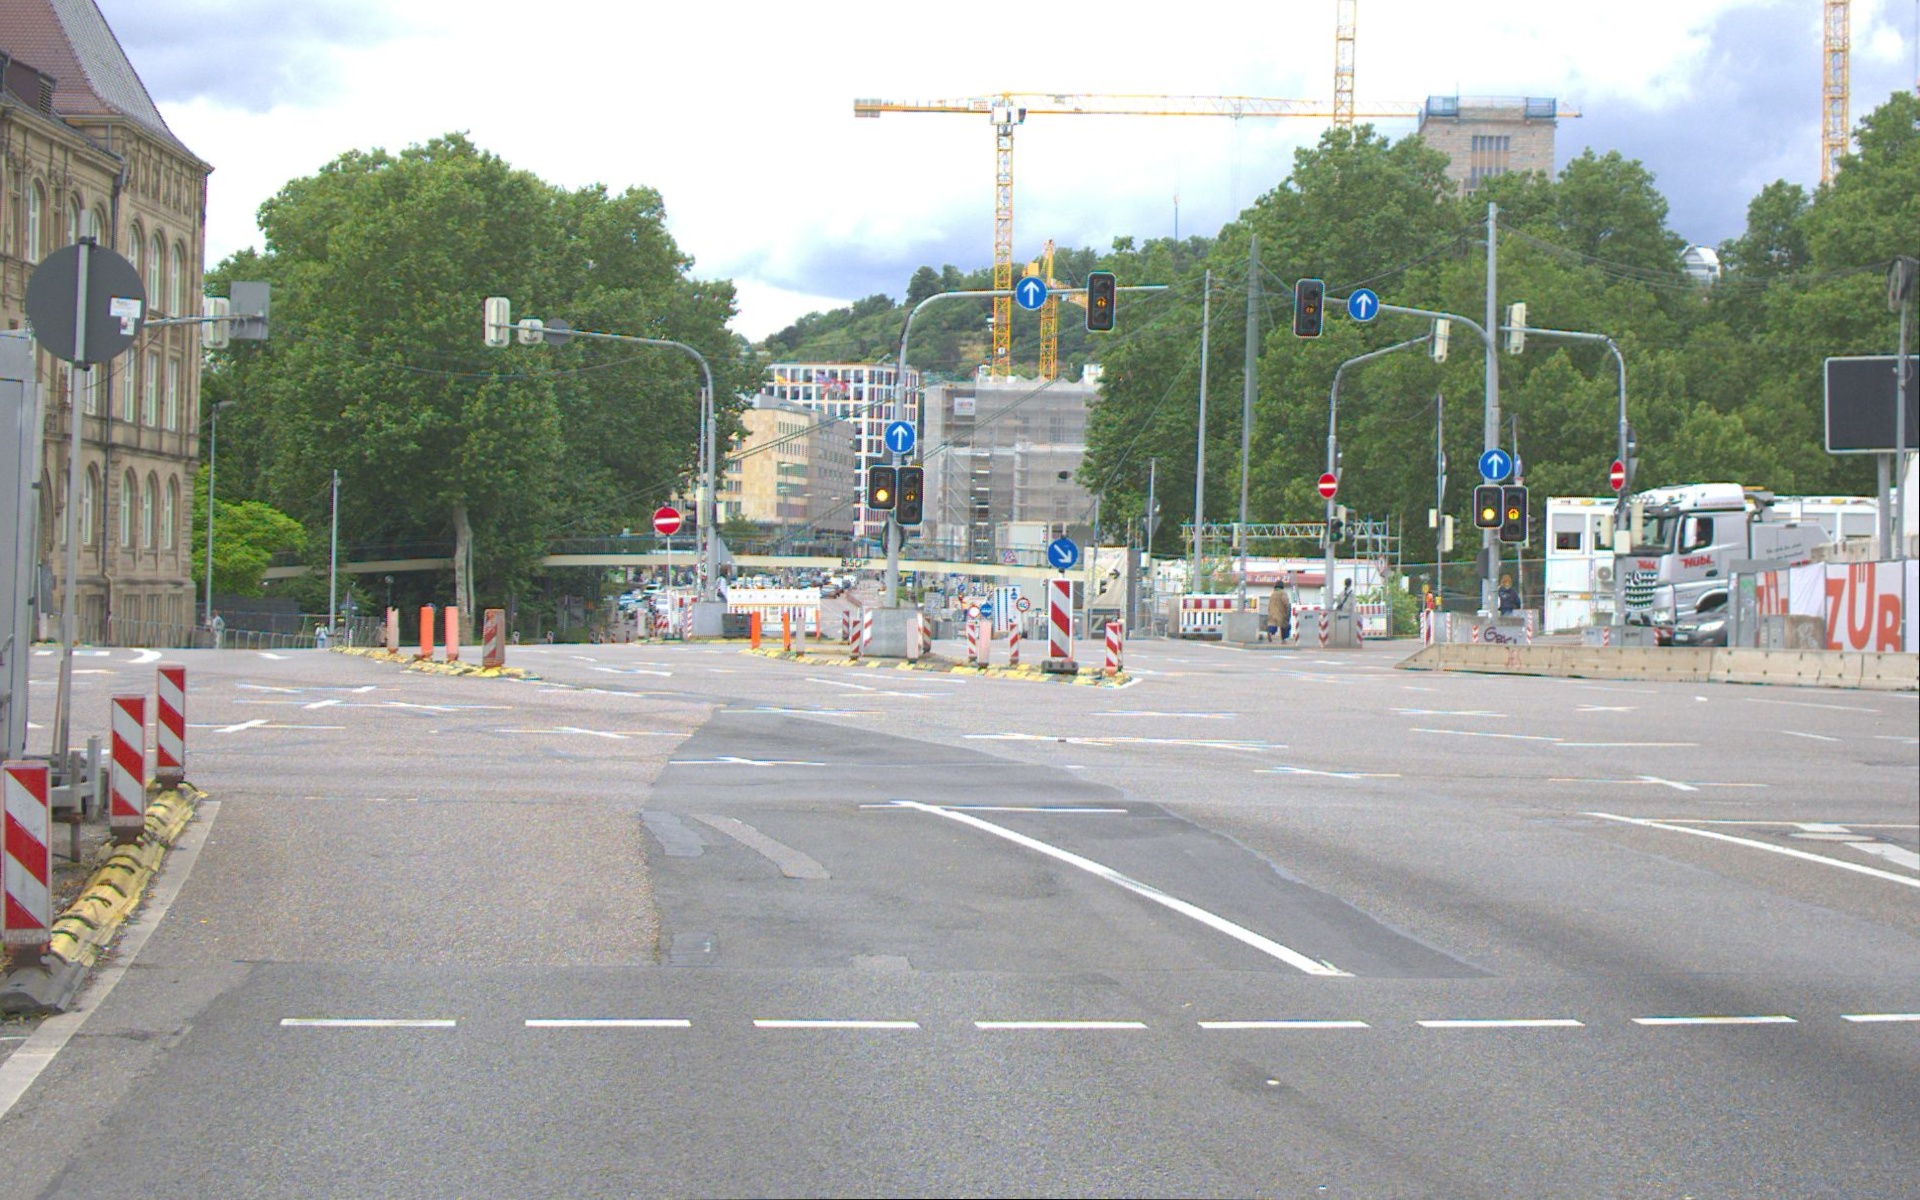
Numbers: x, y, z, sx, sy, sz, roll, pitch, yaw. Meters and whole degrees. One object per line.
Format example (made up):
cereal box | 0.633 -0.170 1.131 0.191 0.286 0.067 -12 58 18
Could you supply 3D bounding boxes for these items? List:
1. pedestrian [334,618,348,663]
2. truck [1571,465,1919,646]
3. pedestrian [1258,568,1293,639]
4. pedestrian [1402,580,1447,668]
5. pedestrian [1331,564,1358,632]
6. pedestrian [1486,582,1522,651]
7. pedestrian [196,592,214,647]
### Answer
pedestrian | -27.963 1.813 155.357 0.524 2.007 0.567 1 1 0
truck | 21.353 -0.997 82.002 13.022 4.027 3.952 1 1 -20
pedestrian | 7.696 0.084 83.929 0.729 1.683 0.678 1 1 -1
pedestrian | 9.125 0.469 67.535 0.729 1.683 0.678 1 1 -1
pedestrian | 9.542 -0.053 85.409 0.566 1.683 0.472 1 1 -1
pedestrian | 13.463 0.394 85.074 0.622 1.683 0.710 2 1 29
pedestrian | -27.874 0.723 126.889 0.524 2.007 0.567 1 1 0
